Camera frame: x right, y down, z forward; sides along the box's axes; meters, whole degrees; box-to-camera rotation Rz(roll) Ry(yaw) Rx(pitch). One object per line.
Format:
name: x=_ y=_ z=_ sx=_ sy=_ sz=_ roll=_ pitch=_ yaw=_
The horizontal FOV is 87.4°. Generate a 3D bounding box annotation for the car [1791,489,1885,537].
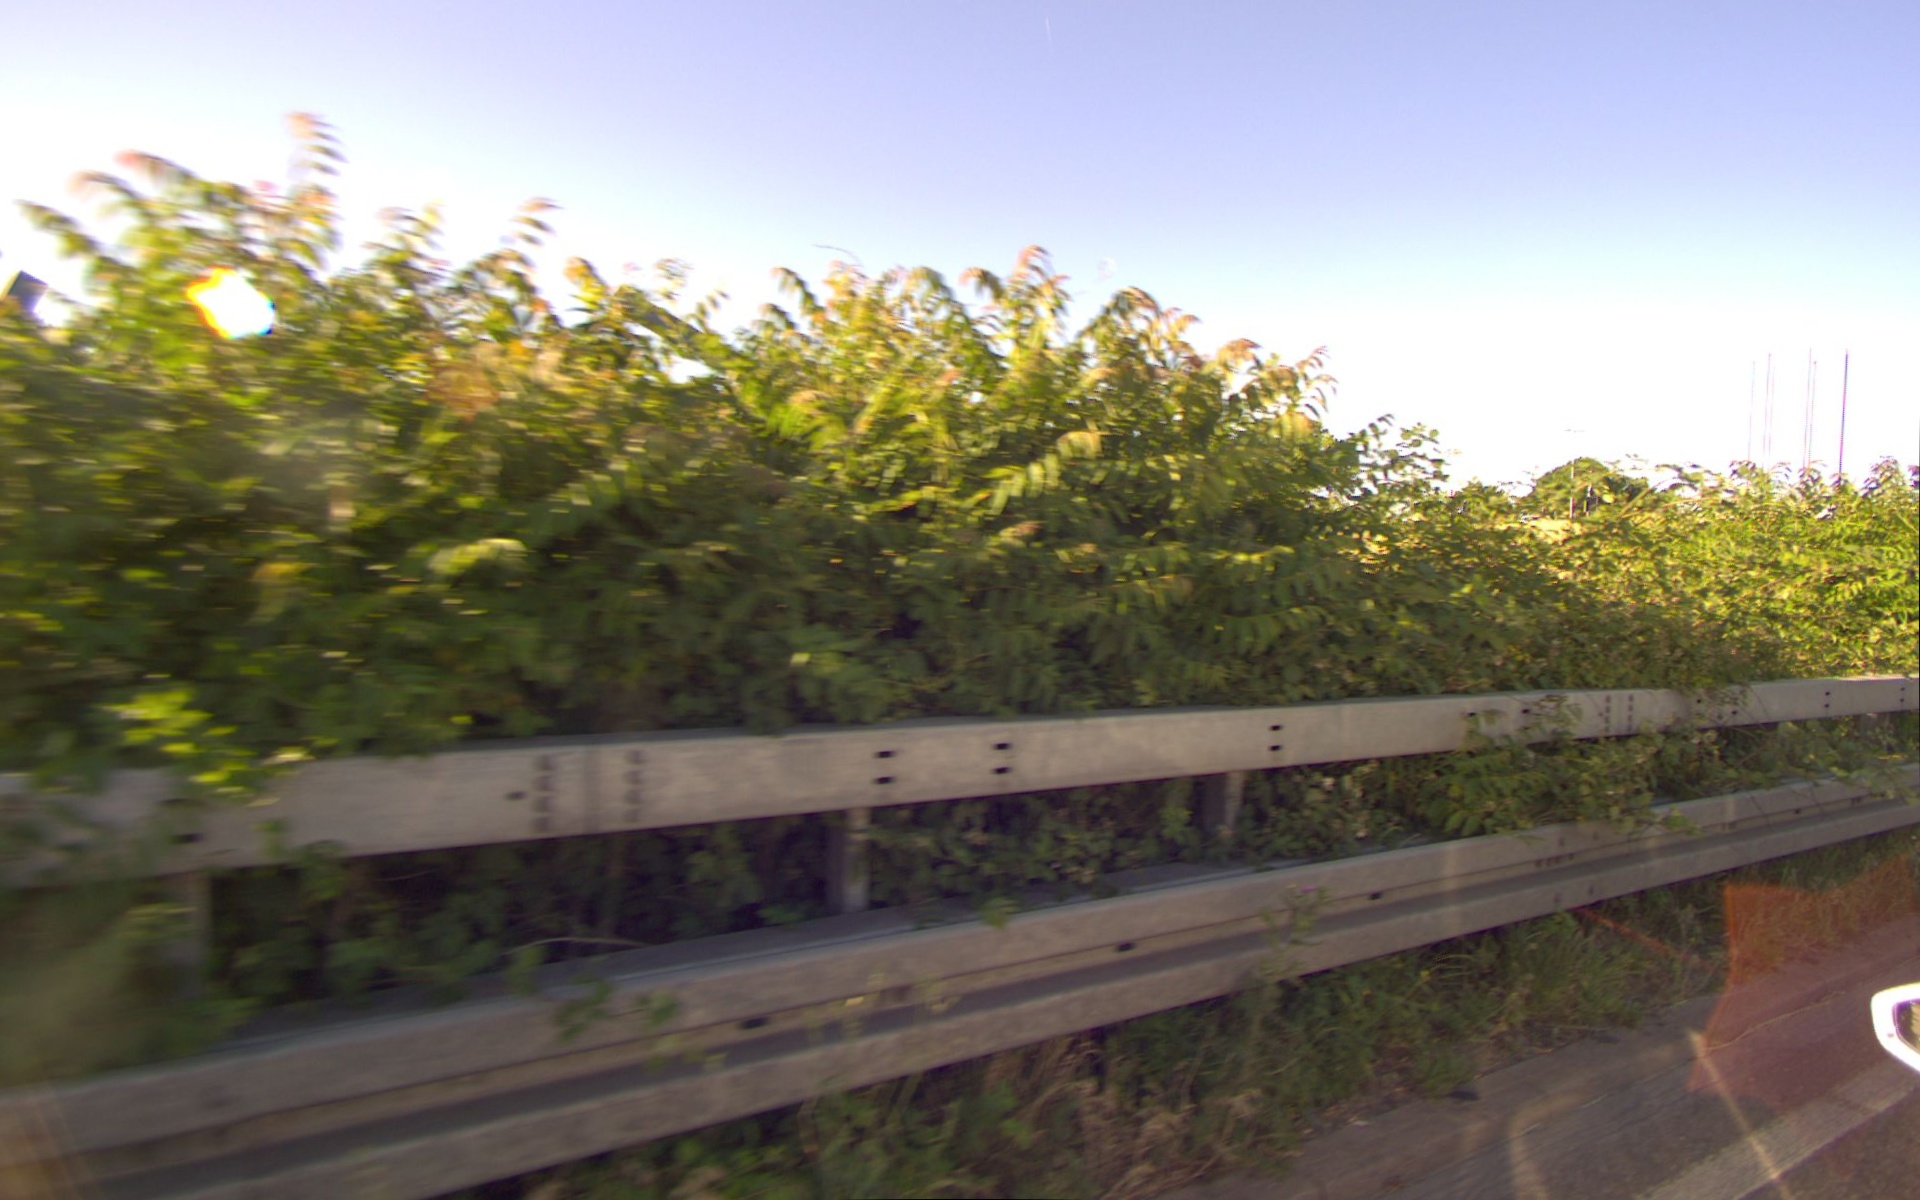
car: x=58.296 y=-5.754 z=66.810 sx=2.043 sy=2.843 sz=4.317 roll=1 pitch=1 yaw=-8
